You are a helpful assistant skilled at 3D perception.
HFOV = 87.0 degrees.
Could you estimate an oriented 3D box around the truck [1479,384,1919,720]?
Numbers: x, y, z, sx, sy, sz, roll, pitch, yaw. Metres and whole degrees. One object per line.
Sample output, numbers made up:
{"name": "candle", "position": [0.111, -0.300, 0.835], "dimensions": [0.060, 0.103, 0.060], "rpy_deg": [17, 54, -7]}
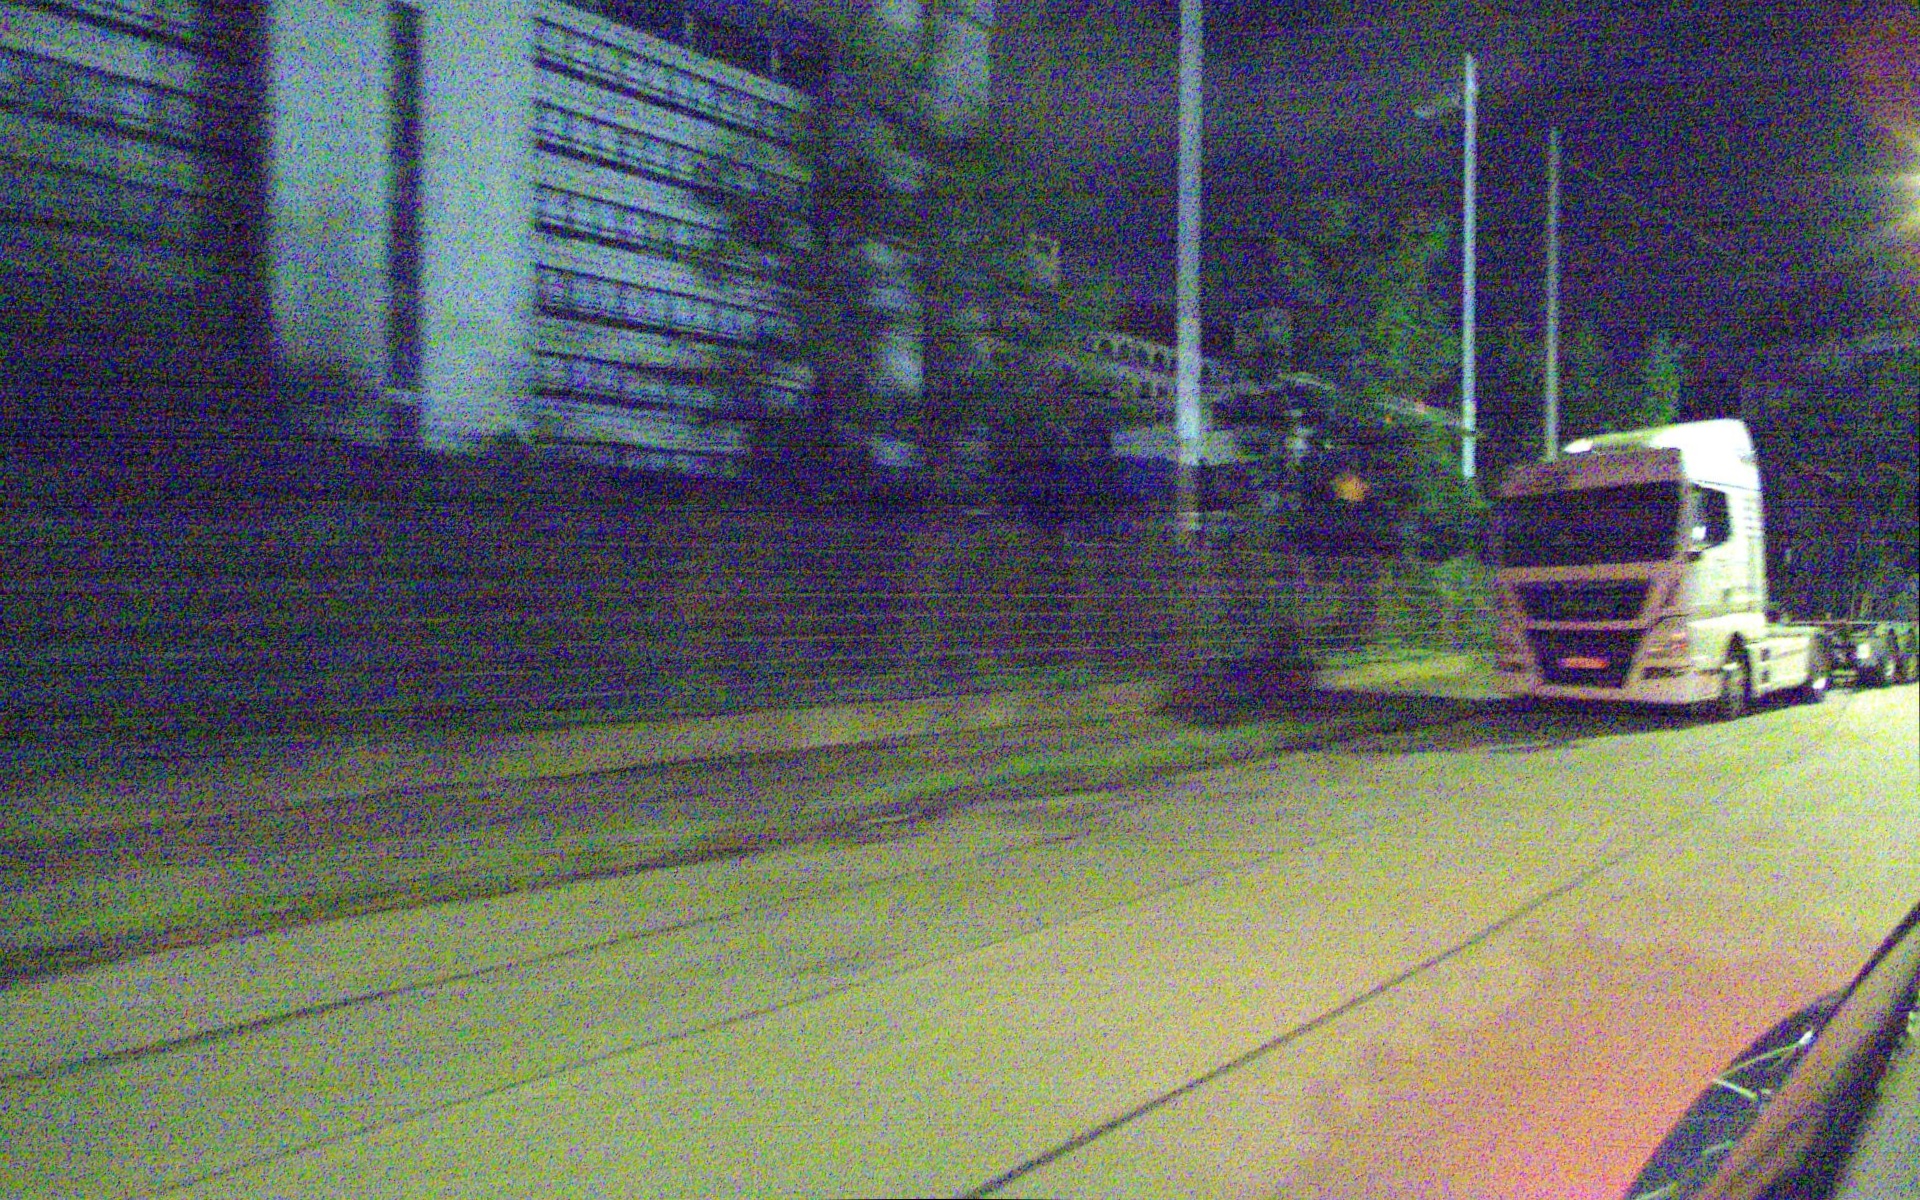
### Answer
{"name": "truck", "position": [12.843, -0.588, 16.333], "dimensions": [12.418, 3.886, 2.517], "rpy_deg": [0, 0, -35]}
